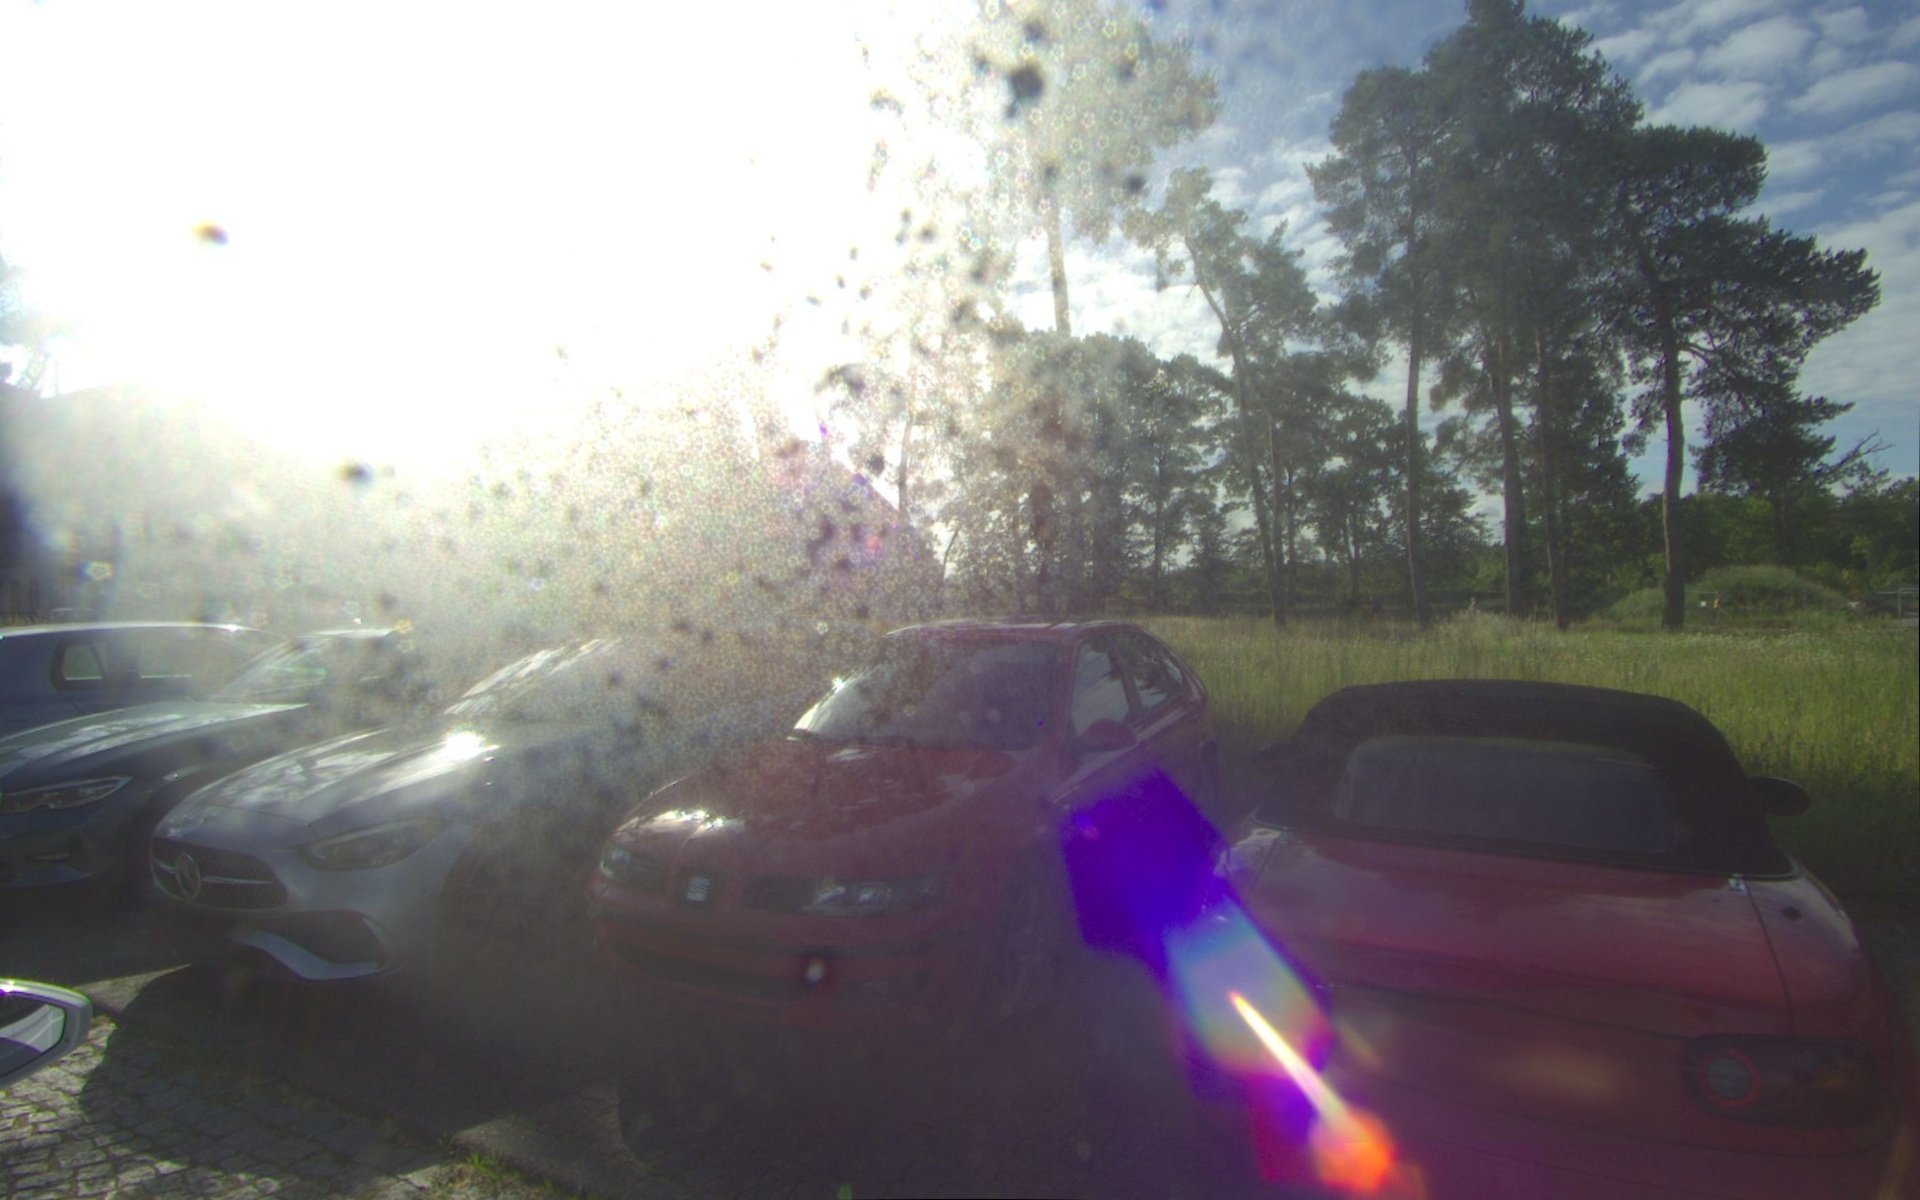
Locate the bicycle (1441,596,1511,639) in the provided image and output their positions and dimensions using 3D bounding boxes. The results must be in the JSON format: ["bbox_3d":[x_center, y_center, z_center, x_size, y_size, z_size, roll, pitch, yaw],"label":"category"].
[{"bbox_3d":[26.253,0.909,51.029,3.080,2.040,0.951,-2,0,24],"label":"bicycle"}]

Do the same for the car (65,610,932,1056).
[{"bbox_3d":[-1.999,0.836,5.804,1.761,1.407,4.395,-1,1,27],"label":"car"}]

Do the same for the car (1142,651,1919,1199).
[{"bbox_3d":[1.889,0.878,3.340,1.513,1.258,3.457,-1,0,29],"label":"car"}]

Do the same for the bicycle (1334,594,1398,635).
[{"bbox_3d":[21.703,0.785,53.553,3.083,2.040,0.950,-3,0,28],"label":"bicycle"}]

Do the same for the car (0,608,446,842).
[{"bbox_3d":[-6.540,0.871,8.387,1.640,1.463,3.668,-1,1,28],"label":"car"}]

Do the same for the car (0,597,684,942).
[{"bbox_3d":[-4.299,0.809,7.196,1.840,1.475,4.615,0,2,26],"label":"car"}]

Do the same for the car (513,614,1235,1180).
[{"bbox_3d":[0.081,0.855,4.904,1.630,1.468,3.975,-1,1,28],"label":"car"}]

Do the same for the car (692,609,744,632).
[{"bbox_3d":[-18.072,1.524,74.931,1.741,1.693,3.630,-1,0,31],"label":"car"}]

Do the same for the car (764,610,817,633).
[{"bbox_3d":[-11.928,1.495,70.706,1.741,1.517,3.630,-1,0,31],"label":"car"}]
